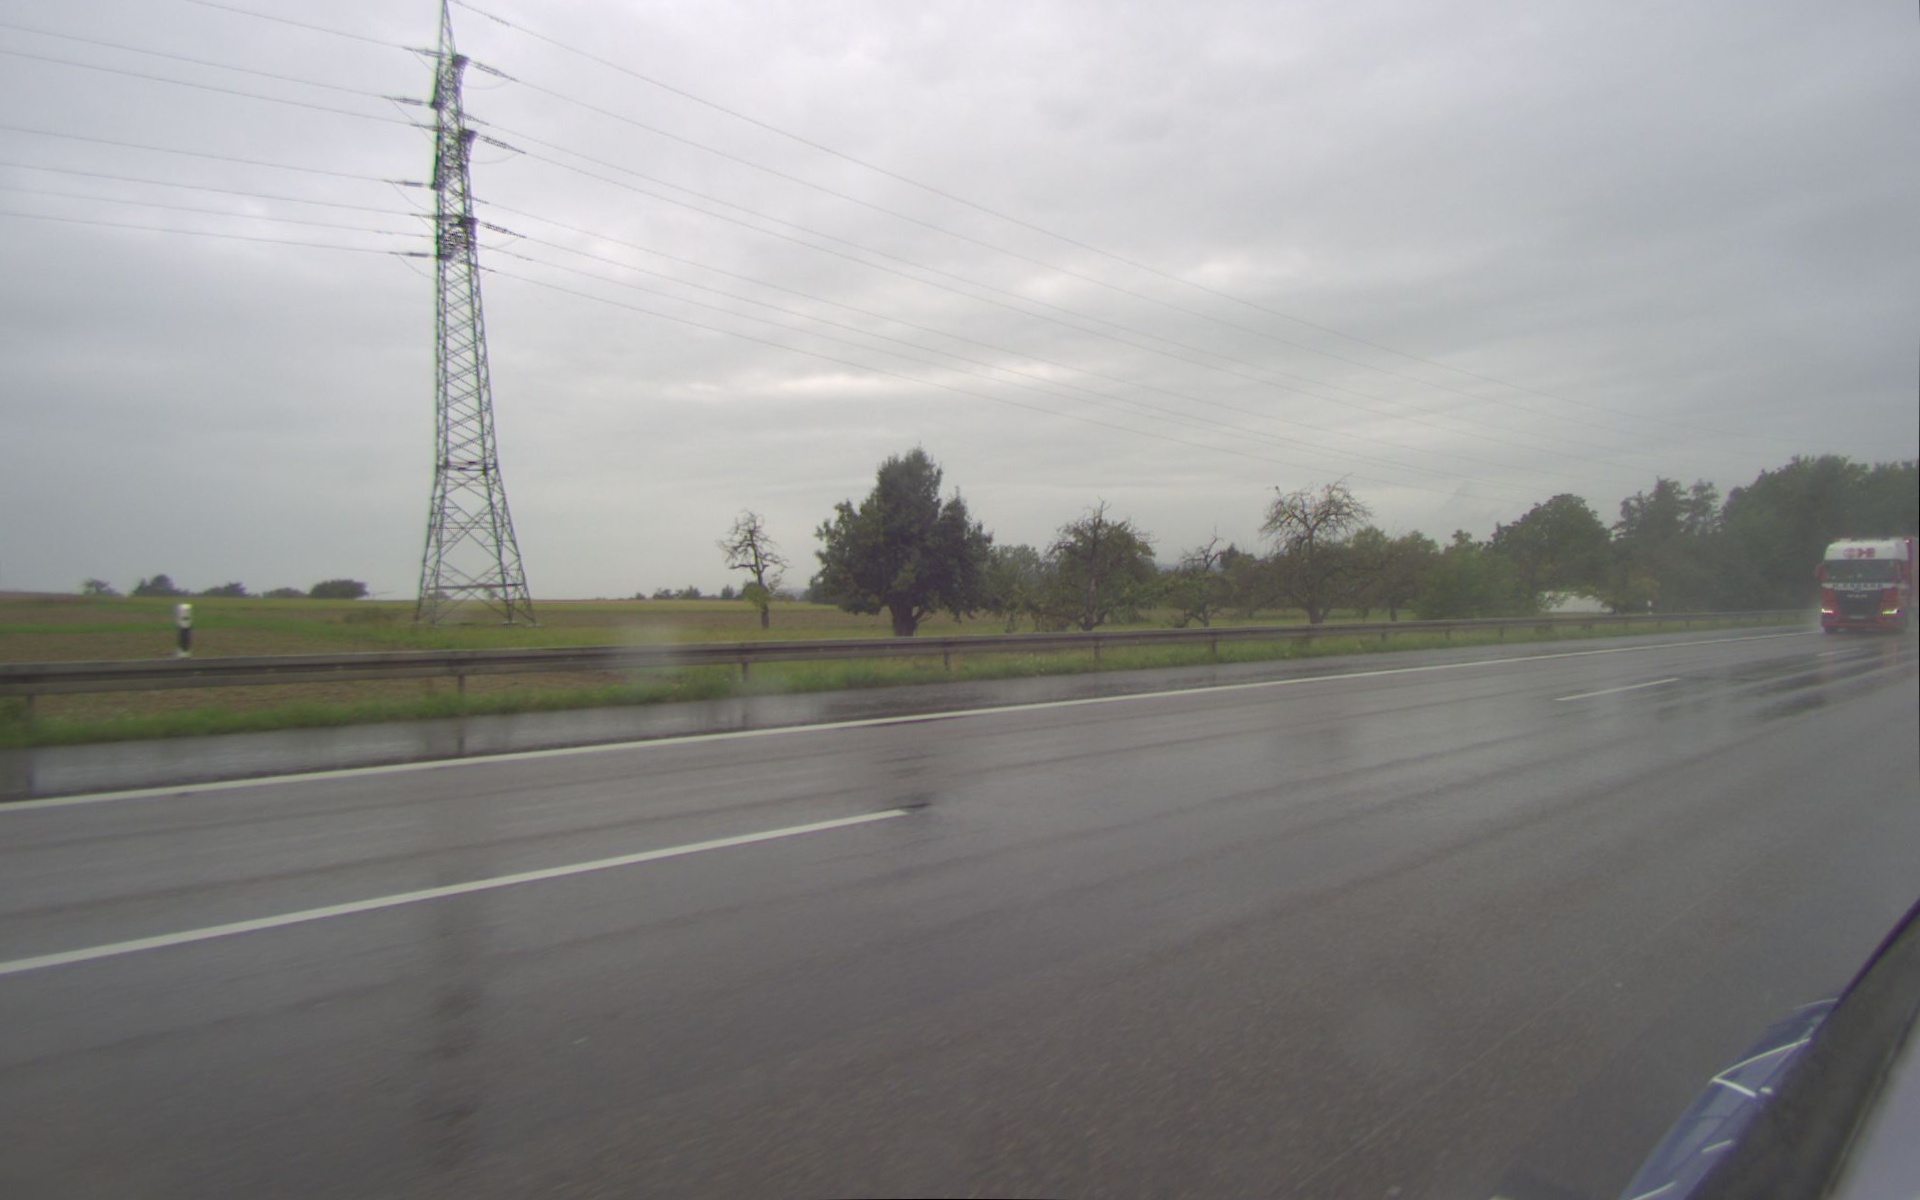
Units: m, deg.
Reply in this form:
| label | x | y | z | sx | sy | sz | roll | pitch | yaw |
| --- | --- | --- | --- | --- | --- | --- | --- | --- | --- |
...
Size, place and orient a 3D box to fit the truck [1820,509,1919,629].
| label | x | y | z | sx | sy | sz | roll | pitch | yaw |
| --- | --- | --- | --- | --- | --- | --- | --- | --- | --- |
| truck | 41.058 | -1.288 | 44.616 | 11.204 | 4.727 | 3.133 | -1 | 0 | -41 |
